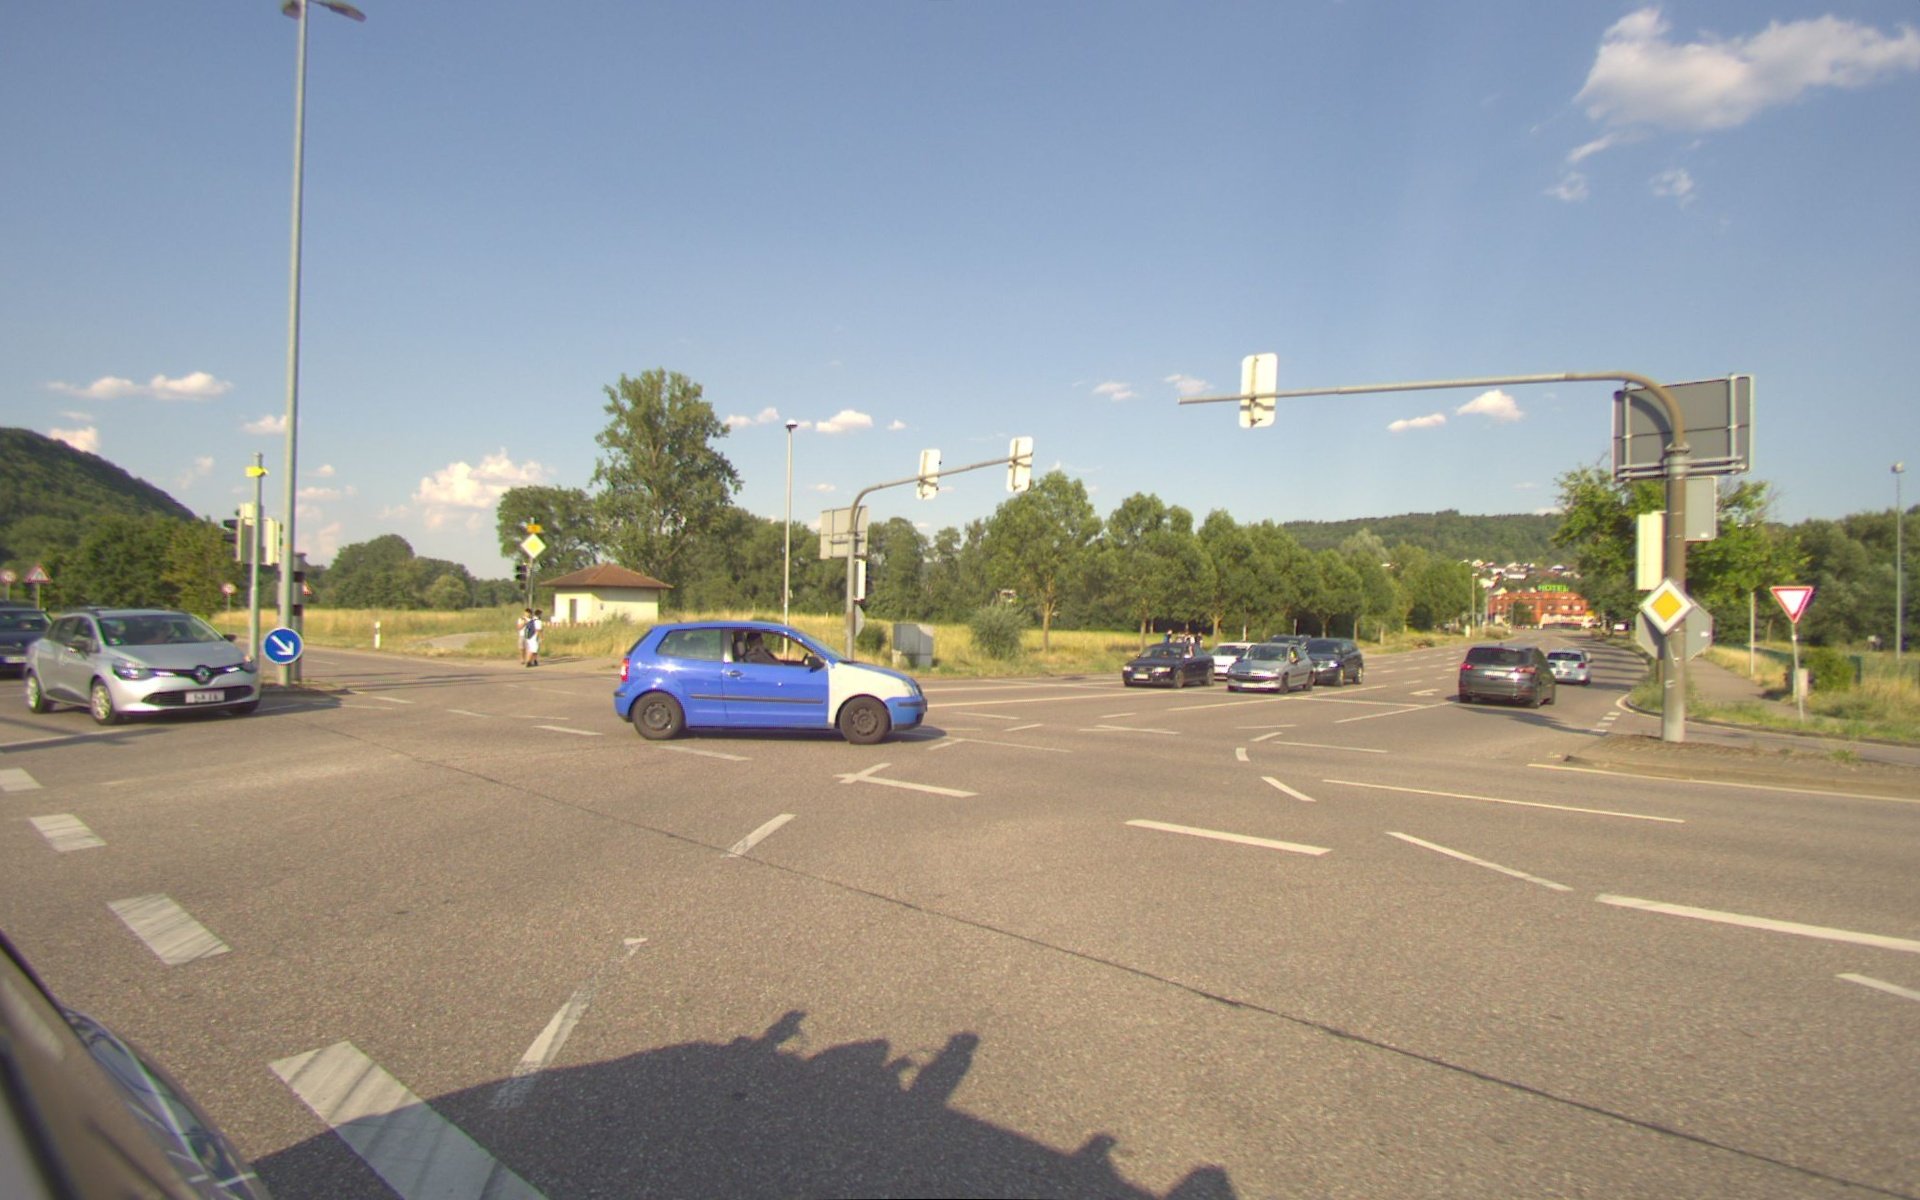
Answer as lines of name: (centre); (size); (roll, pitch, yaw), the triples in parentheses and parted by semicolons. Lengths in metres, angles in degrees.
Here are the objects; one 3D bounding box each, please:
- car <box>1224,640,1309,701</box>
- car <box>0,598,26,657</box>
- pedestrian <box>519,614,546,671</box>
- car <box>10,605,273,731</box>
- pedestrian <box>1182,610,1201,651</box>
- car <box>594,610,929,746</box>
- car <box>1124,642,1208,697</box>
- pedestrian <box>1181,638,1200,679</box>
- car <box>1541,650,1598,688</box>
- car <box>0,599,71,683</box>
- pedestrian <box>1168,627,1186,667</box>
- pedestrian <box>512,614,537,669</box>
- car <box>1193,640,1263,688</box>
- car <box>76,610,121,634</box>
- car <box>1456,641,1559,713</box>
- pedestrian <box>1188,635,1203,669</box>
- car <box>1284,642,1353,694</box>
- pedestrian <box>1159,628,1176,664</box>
car: (8.966, 1.972, 29.395); (1.759, 1.431, 3.845); (0, 1, 27)
car: (-28.197, 0.758, 28.933); (4.144, 1.586, 1.833); (0, 1, 42)
pedestrian: (-12.575, 1.235, 29.741); (0.645, 1.618, 0.892); (0, 0, -28)
car: (-11.341, 0.825, 13.942); (4.180, 1.488, 1.742); (0, -1, 35)
pedestrian: (11.787, 1.538, 51.566); (0.722, 2.029, 0.687); (0, 0, 34)
car: (-2.318, 0.925, 12.575); (3.836, 1.511, 1.693); (1, -1, -1)
car: (6.456, 2.100, 31.486); (1.628, 1.370, 3.845); (0, 1, 27)
pedestrian: (11.844, 3.011, 51.902); (0.723, 2.029, 0.686); (0, 0, 39)
car: (25.544, 2.851, 42.359); (1.765, 1.378, 3.703); (0, -2, 36)
car: (-19.791, 0.793, 20.990); (3.999, 1.586, 1.596); (0, 1, 42)
pedestrian: (11.248, 2.432, 52.428); (0.723, 2.029, 0.686); (0, 0, 39)
pedestrian: (-13.182, 1.234, 30.632); (0.645, 1.618, 0.839); (0, 0, -28)
car: (9.945, 2.315, 37.383); (1.759, 1.431, 3.845); (0, 1, 27)
car: (-57.234, 1.466, 67.220); (4.144, 1.445, 1.690); (0, -3, 42)
car: (14.826, 2.014, 27.297); (1.922, 1.703, 4.107); (1, -2, 36)
pedestrian: (12.433, 2.728, 53.485); (0.718, 1.771, 0.691); (0, 0, 17)
car: (12.240, 2.246, 34.390); (1.759, 1.431, 3.845); (0, 1, 27)
pedestrian: (10.932, 2.402, 53.310); (0.421, 1.867, 0.785); (0, 0, -41)
